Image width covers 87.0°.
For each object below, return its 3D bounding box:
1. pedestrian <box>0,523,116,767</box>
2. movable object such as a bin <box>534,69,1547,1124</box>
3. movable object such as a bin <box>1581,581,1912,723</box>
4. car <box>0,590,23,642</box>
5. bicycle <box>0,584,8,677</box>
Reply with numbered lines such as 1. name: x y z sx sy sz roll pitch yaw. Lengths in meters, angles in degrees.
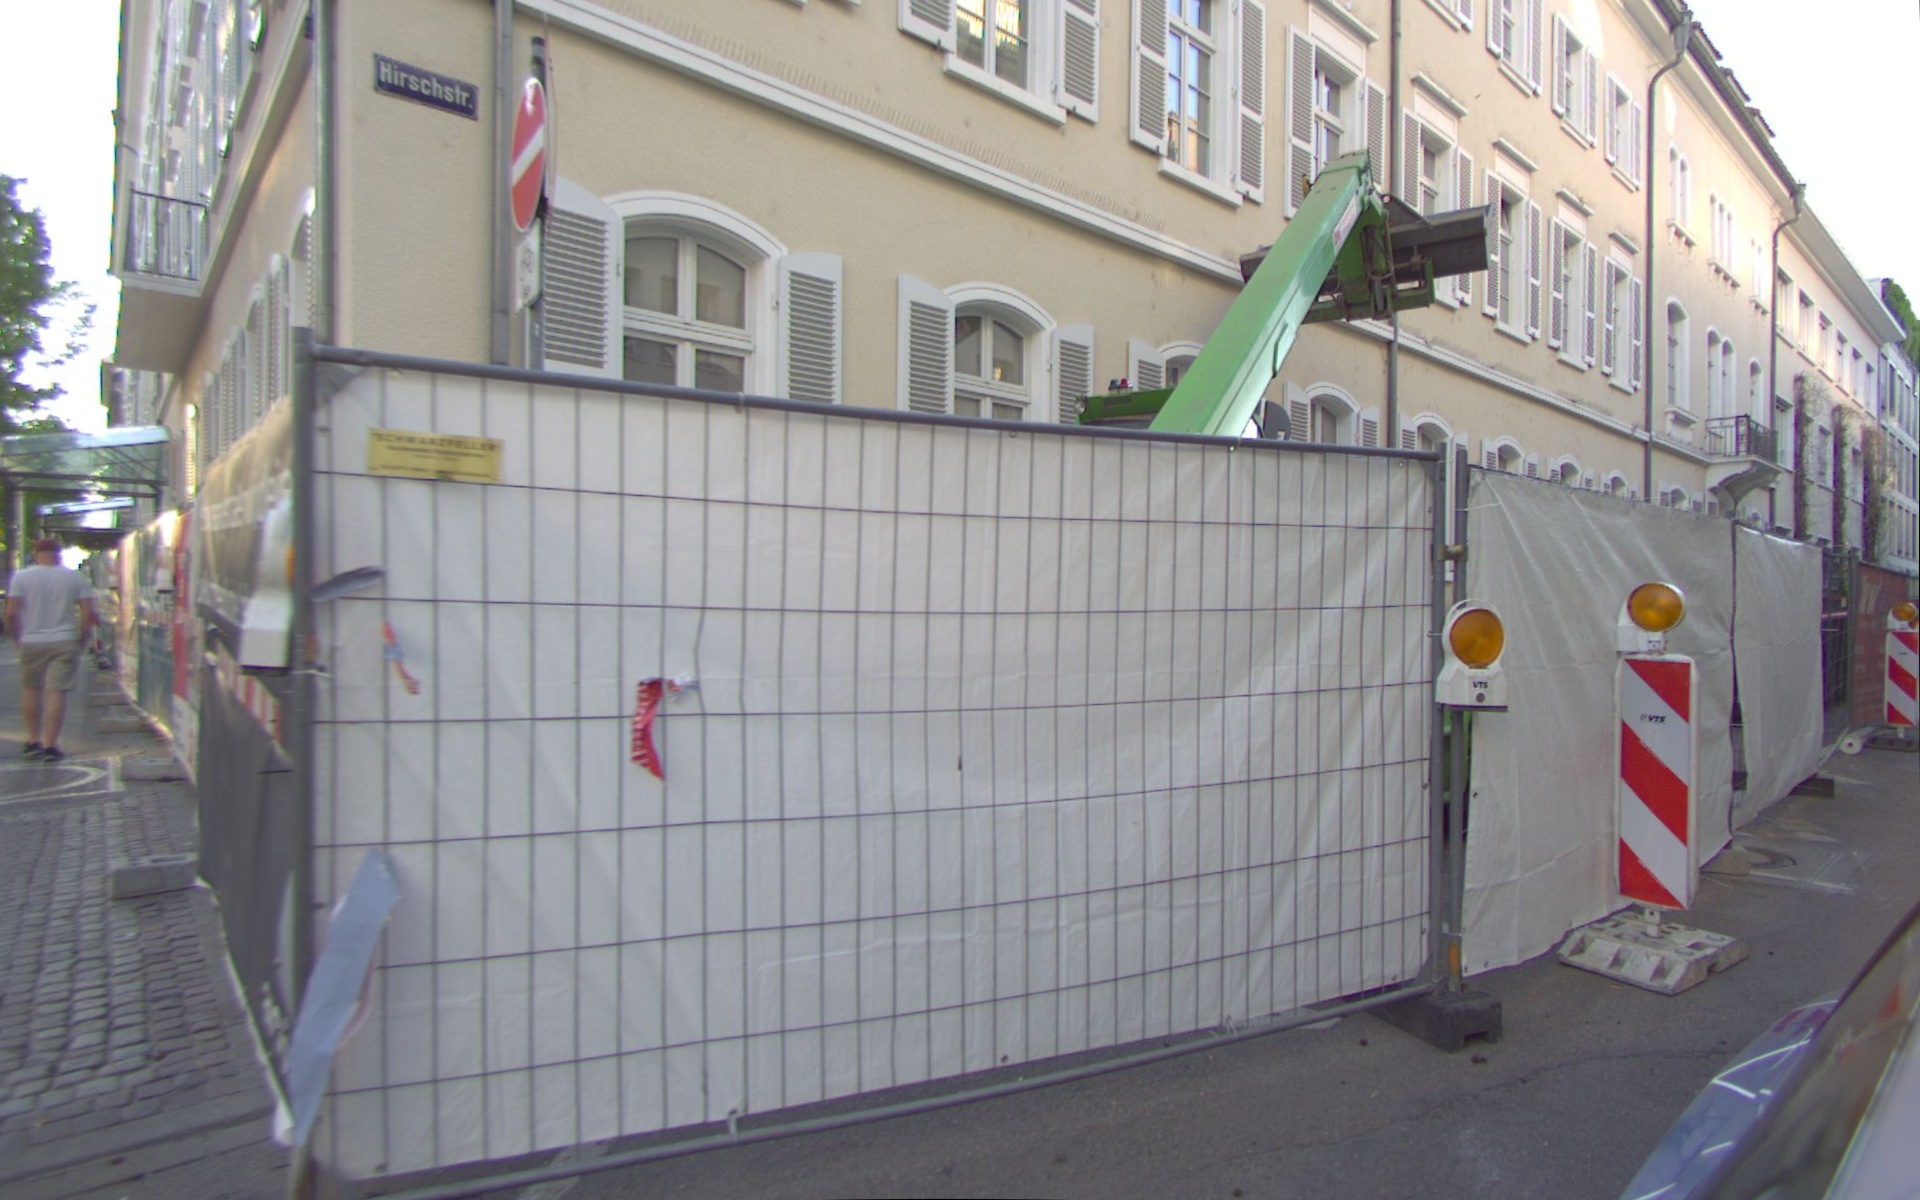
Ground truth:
1. pedestrian: -7.570 0.337 8.446 0.746 1.908 0.879 -2 2 -40
2. movable object such as a bin: 0.909 -0.022 5.649 5.471 2.909 2.638 1 1 -43
3. movable object such as a bin: 12.379 0.650 15.648 7.169 1.685 2.894 1 0 -43
4. car: -34.575 0.543 35.765 1.965 1.759 4.098 0 1 -41
5. bicycle: -17.158 0.522 17.641 0.691 1.570 2.180 -2 1 -41
